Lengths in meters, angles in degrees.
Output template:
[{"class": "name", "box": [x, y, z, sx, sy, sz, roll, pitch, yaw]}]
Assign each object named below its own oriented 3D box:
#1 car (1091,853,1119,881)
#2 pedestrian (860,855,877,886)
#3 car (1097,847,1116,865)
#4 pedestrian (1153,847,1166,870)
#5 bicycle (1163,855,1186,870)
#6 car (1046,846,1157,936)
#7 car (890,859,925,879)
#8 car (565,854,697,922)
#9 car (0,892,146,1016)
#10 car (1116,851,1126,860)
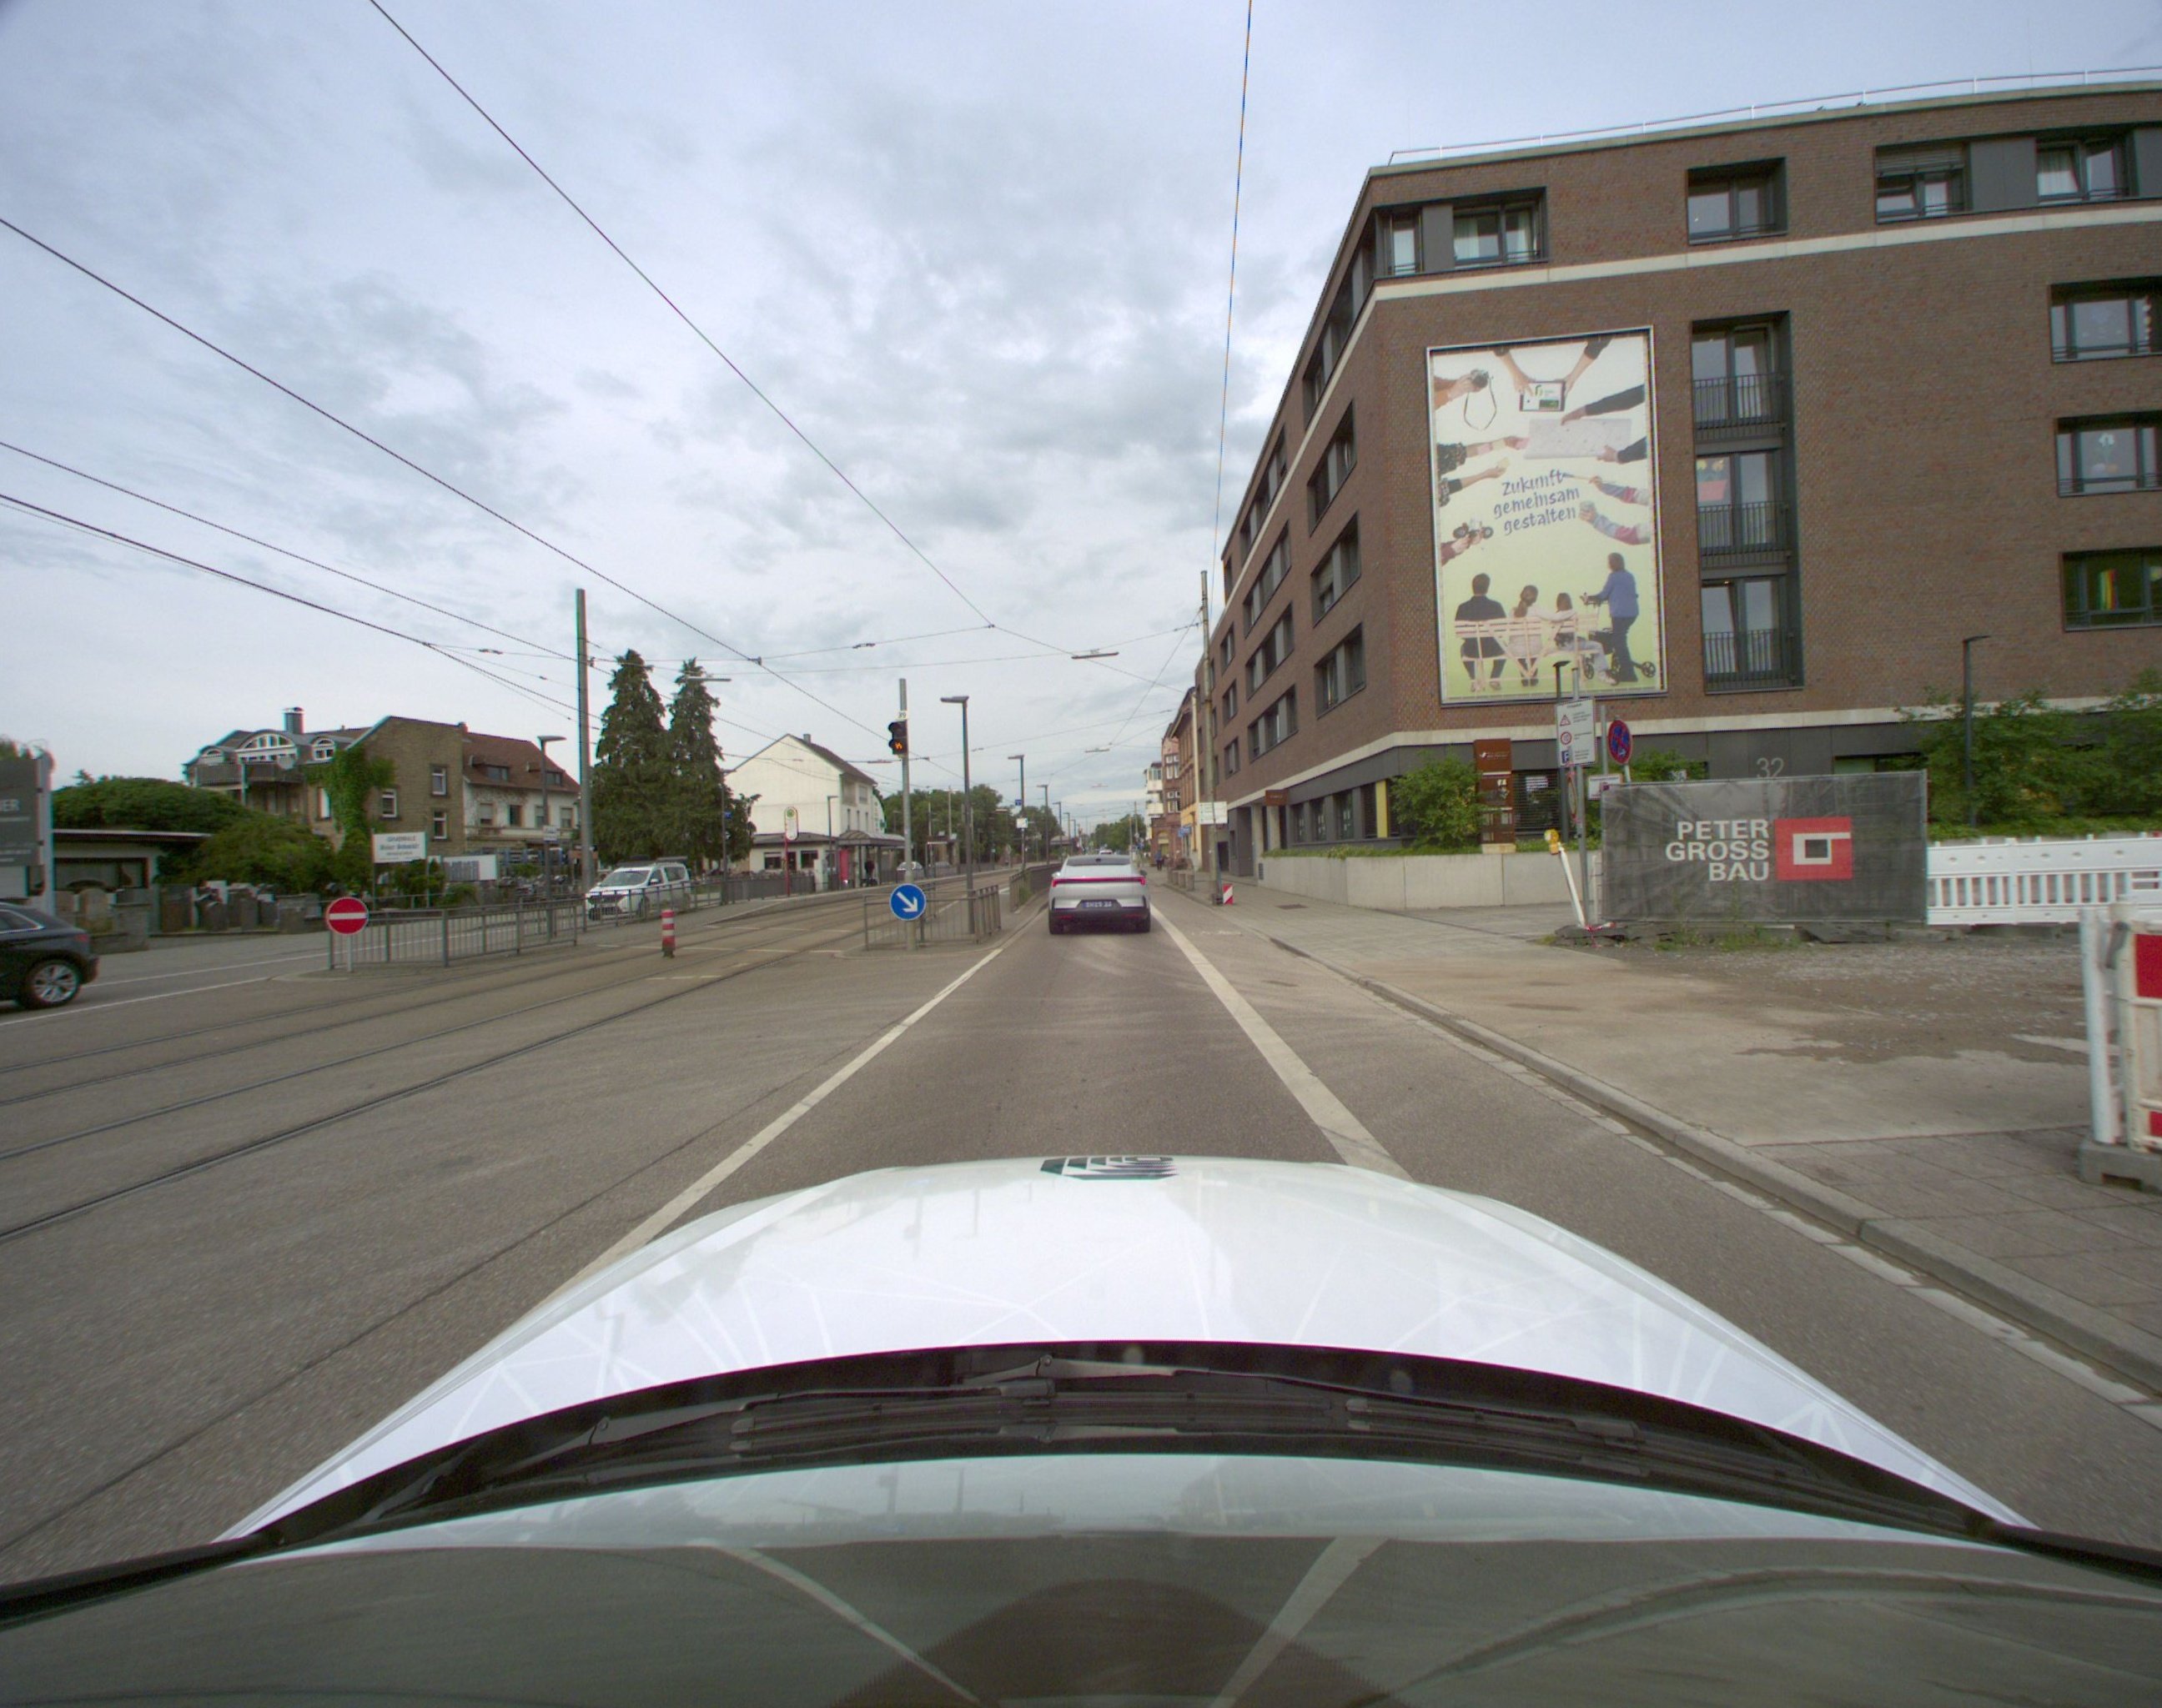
[{"class": "car", "box": [1.541, 0.799, 51.694, 1.674, 1.687, 3.825, -1, -1, 2]}, {"class": "pedestrian", "box": [-11.457, 0.892, 43.926, 0.611, 1.664, 0.700, -1, -1, 15]}, {"class": "car", "box": [3.409, 0.295, 109.426, 2.220, 2.402, 5.119, -1, -1, -2]}, {"class": "pedestrian", "box": [6.834, 0.387, 70.792, 0.955, 1.850, 0.978, -4, 0, 7]}, {"class": "bicycle", "box": [7.910, 0.699, 69.058, 1.771, 1.129, 0.642, -5, 0, 0]}, {"class": "car", "box": [0.288, 0.701, 16.731, 1.995, 1.581, 3.996, -1, -1, -3]}, {"class": "car", "box": [-14.512, 1.241, 68.314, 1.858, 1.486, 4.000, -5, 0, 1]}, {"class": "car", "box": [-14.823, 1.047, 27.167, 1.879, 1.988, 4.523, -3, 0, -1]}, {"class": "car", "box": [-13.967, 1.282, 9.153, 1.877, 1.428, 4.419, -3, 0, -3]}, {"class": "car", "box": [11.135, 0.413, 228.520, 2.796, 2.505, 5.724, -1, -1, 2]}]
